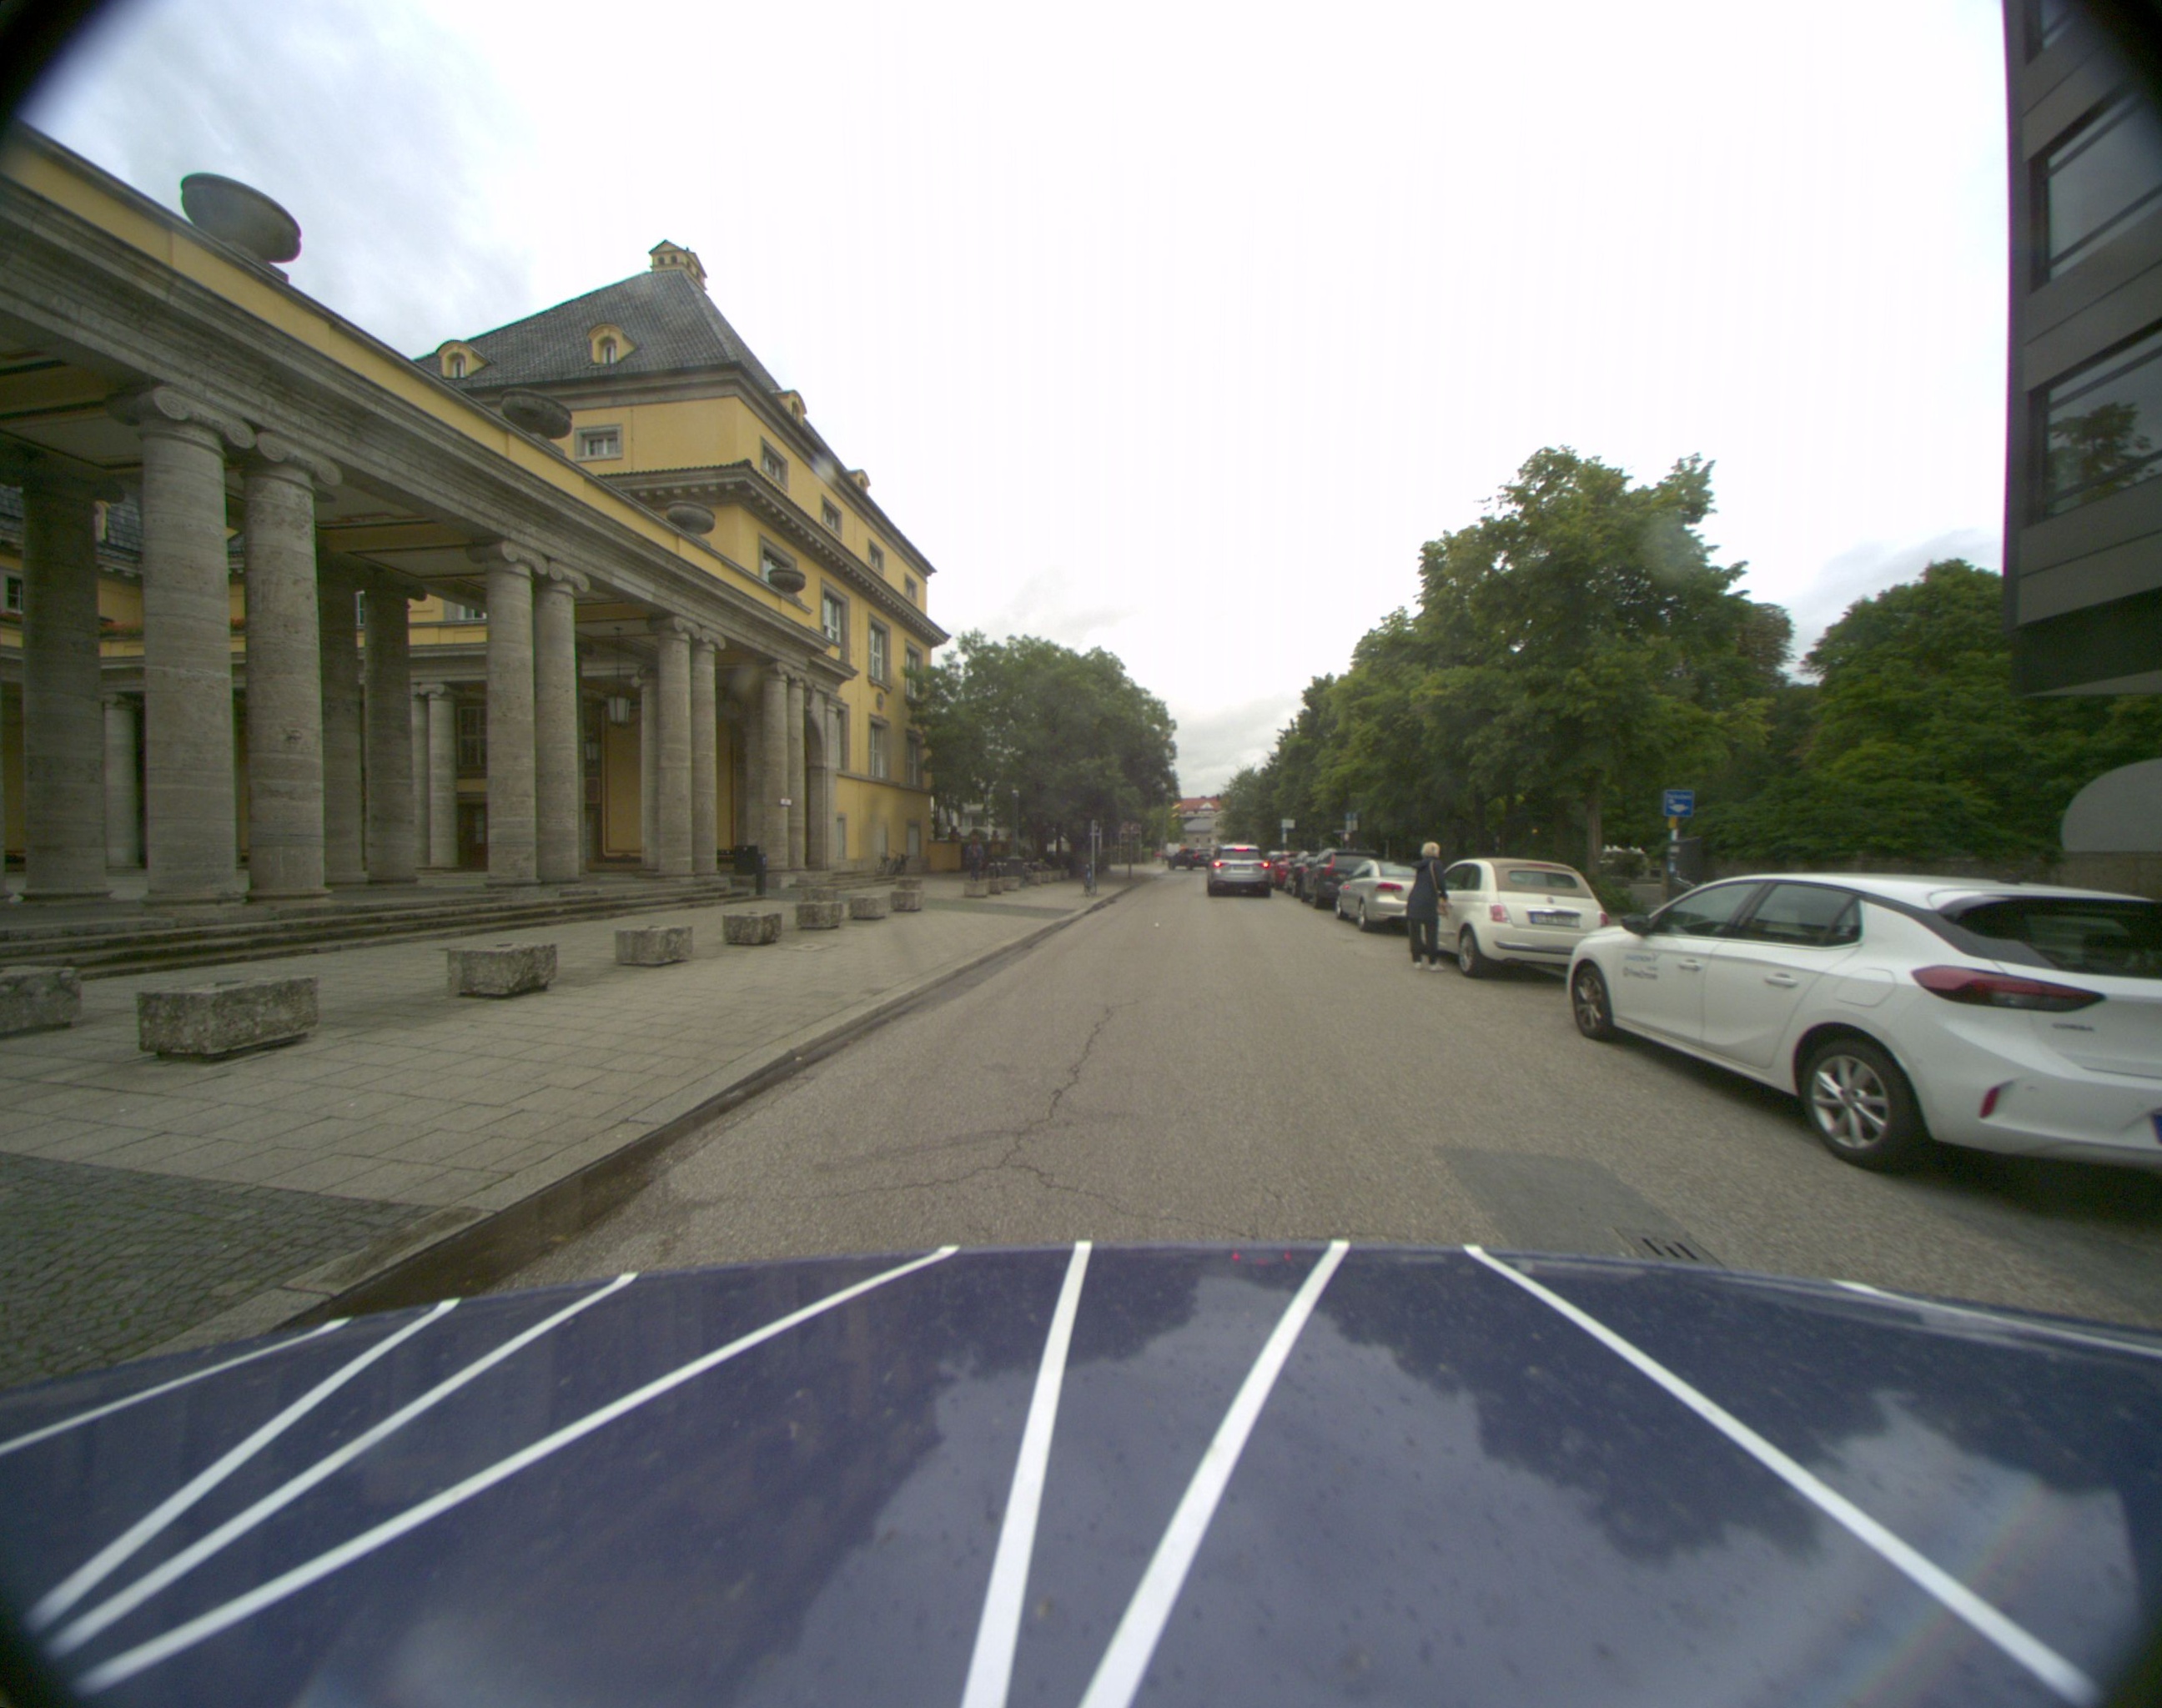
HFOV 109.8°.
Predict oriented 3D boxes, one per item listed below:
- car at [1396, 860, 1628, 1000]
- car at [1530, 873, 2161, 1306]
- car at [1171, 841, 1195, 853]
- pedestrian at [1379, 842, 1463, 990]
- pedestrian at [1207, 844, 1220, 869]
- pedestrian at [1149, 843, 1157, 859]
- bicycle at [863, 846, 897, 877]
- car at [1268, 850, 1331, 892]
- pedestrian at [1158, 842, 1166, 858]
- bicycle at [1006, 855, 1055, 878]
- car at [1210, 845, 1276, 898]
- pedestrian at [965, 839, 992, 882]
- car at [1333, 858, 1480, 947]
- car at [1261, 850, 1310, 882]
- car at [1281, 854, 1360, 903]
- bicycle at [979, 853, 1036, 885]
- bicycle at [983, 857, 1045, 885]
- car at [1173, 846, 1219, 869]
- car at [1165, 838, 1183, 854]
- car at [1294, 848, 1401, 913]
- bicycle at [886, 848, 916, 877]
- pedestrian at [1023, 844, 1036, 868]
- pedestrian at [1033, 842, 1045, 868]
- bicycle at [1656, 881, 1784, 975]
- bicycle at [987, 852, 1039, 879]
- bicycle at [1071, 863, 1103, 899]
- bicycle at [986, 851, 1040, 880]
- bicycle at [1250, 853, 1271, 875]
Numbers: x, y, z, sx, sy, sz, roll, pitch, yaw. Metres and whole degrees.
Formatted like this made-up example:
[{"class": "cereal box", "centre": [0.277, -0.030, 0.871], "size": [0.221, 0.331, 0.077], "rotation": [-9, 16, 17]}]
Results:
[{"class": "car", "centre": [5.605, 0.876, 10.399], "size": [1.546, 1.462, 3.555], "rotation": [2, 1, 9]}, {"class": "car", "centre": [4.737, 0.966, 4.895], "size": [1.684, 1.432, 4.282], "rotation": [3, 1, 9]}, {"class": "car", "centre": [23.594, -1.609, 175.885], "size": [2.577, 2.521, 4.974], "rotation": [-4, 1, -38]}, {"class": "pedestrian", "centre": [4.296, 0.738, 9.581], "size": [0.688, 1.742, 0.895], "rotation": [3, 1, 38]}, {"class": "pedestrian", "centre": [9.302, 0.165, 53.453], "size": [0.798, 1.722, 0.661], "rotation": [-3, 1, 7]}, {"class": "pedestrian", "centre": [8.517, -0.376, 90.085], "size": [0.777, 1.855, 0.997], "rotation": [-3, 1, 1]}, {"class": "bicycle", "centre": [-8.796, 0.306, 33.317], "size": [0.601, 1.299, 2.265], "rotation": [1, 1, 9]}, {"class": "car", "centre": [8.897, 0.632, 31.295], "size": [1.997, 1.535, 4.367], "rotation": [1, 1, 10]}, {"class": "pedestrian", "centre": [9.561, -0.432, 89.957], "size": [0.777, 1.855, 0.997], "rotation": [-3, 1, 3]}, {"class": "bicycle", "centre": [-2.433, 0.599, 36.756], "size": [2.260, 1.005, 0.602], "rotation": [2, 1, 11]}, {"class": "car", "centre": [5.570, 0.530, 26.484], "size": [2.028, 1.679, 4.680], "rotation": [1, 1, 10]}, {"class": "pedestrian", "centre": [-4.157, 0.250, 30.811], "size": [0.789, 1.736, 1.056], "rotation": [1, 1, 8]}, {"class": "car", "centre": [6.398, 0.860, 15.436], "size": [1.761, 1.392, 4.220], "rotation": [3, 1, 10]}, {"class": "car", "centre": [10.187, 0.541, 38.119], "size": [1.997, 1.452, 4.367], "rotation": [1, 1, 10]}, {"class": "car", "centre": [8.150, 0.771, 26.253], "size": [1.997, 1.452, 4.650], "rotation": [1, 1, 10]}, {"class": "bicycle", "centre": [-3.098, 0.628, 31.976], "size": [2.263, 1.088, 0.601], "rotation": [5, 2, -2]}, {"class": "bicycle", "centre": [-2.693, 0.695, 30.688], "size": [2.368, 1.000, 0.678], "rotation": [3, 1, 0]}, {"class": "car", "centre": [8.970, 0.242, 59.673], "size": [1.967, 1.672, 4.905], "rotation": [1, 1, -12]}, {"class": "car", "centre": [13.868, -1.220, 113.737], "size": [2.235, 2.289, 4.731], "rotation": [-3, 1, 3]}, {"class": "car", "centre": [7.311, 0.643, 21.297], "size": [1.997, 1.574, 4.524], "rotation": [1, 1, 9]}, {"class": "bicycle", "centre": [-8.433, 0.389, 35.650], "size": [0.601, 1.299, 2.166], "rotation": [1, 1, 8]}, {"class": "pedestrian", "centre": [-3.768, 0.125, 55.395], "size": [0.740, 1.734, 0.842], "rotation": [3, 2, 9]}, {"class": "pedestrian", "centre": [-3.052, 0.087, 55.274], "size": [0.658, 1.855, 0.821], "rotation": [3, 2, 9]}, {"class": "bicycle", "centre": [8.990, 1.009, 10.765], "size": [0.644, 1.157, 1.528], "rotation": [-2, 1, 7]}, {"class": "bicycle", "centre": [-3.091, 0.510, 34.673], "size": [2.263, 1.018, 0.601], "rotation": [5, 2, -2]}, {"class": "bicycle", "centre": [0.222, 0.893, 26.235], "size": [0.761, 1.094, 2.265], "rotation": [2, 1, 8]}, {"class": "bicycle", "centre": [-3.010, 0.515, 33.738], "size": [2.263, 1.053, 0.601], "rotation": [5, 2, -2]}, {"class": "bicycle", "centre": [10.593, 0.588, 44.894], "size": [0.574, 1.275, 1.421], "rotation": [-1, 1, 41]}]
